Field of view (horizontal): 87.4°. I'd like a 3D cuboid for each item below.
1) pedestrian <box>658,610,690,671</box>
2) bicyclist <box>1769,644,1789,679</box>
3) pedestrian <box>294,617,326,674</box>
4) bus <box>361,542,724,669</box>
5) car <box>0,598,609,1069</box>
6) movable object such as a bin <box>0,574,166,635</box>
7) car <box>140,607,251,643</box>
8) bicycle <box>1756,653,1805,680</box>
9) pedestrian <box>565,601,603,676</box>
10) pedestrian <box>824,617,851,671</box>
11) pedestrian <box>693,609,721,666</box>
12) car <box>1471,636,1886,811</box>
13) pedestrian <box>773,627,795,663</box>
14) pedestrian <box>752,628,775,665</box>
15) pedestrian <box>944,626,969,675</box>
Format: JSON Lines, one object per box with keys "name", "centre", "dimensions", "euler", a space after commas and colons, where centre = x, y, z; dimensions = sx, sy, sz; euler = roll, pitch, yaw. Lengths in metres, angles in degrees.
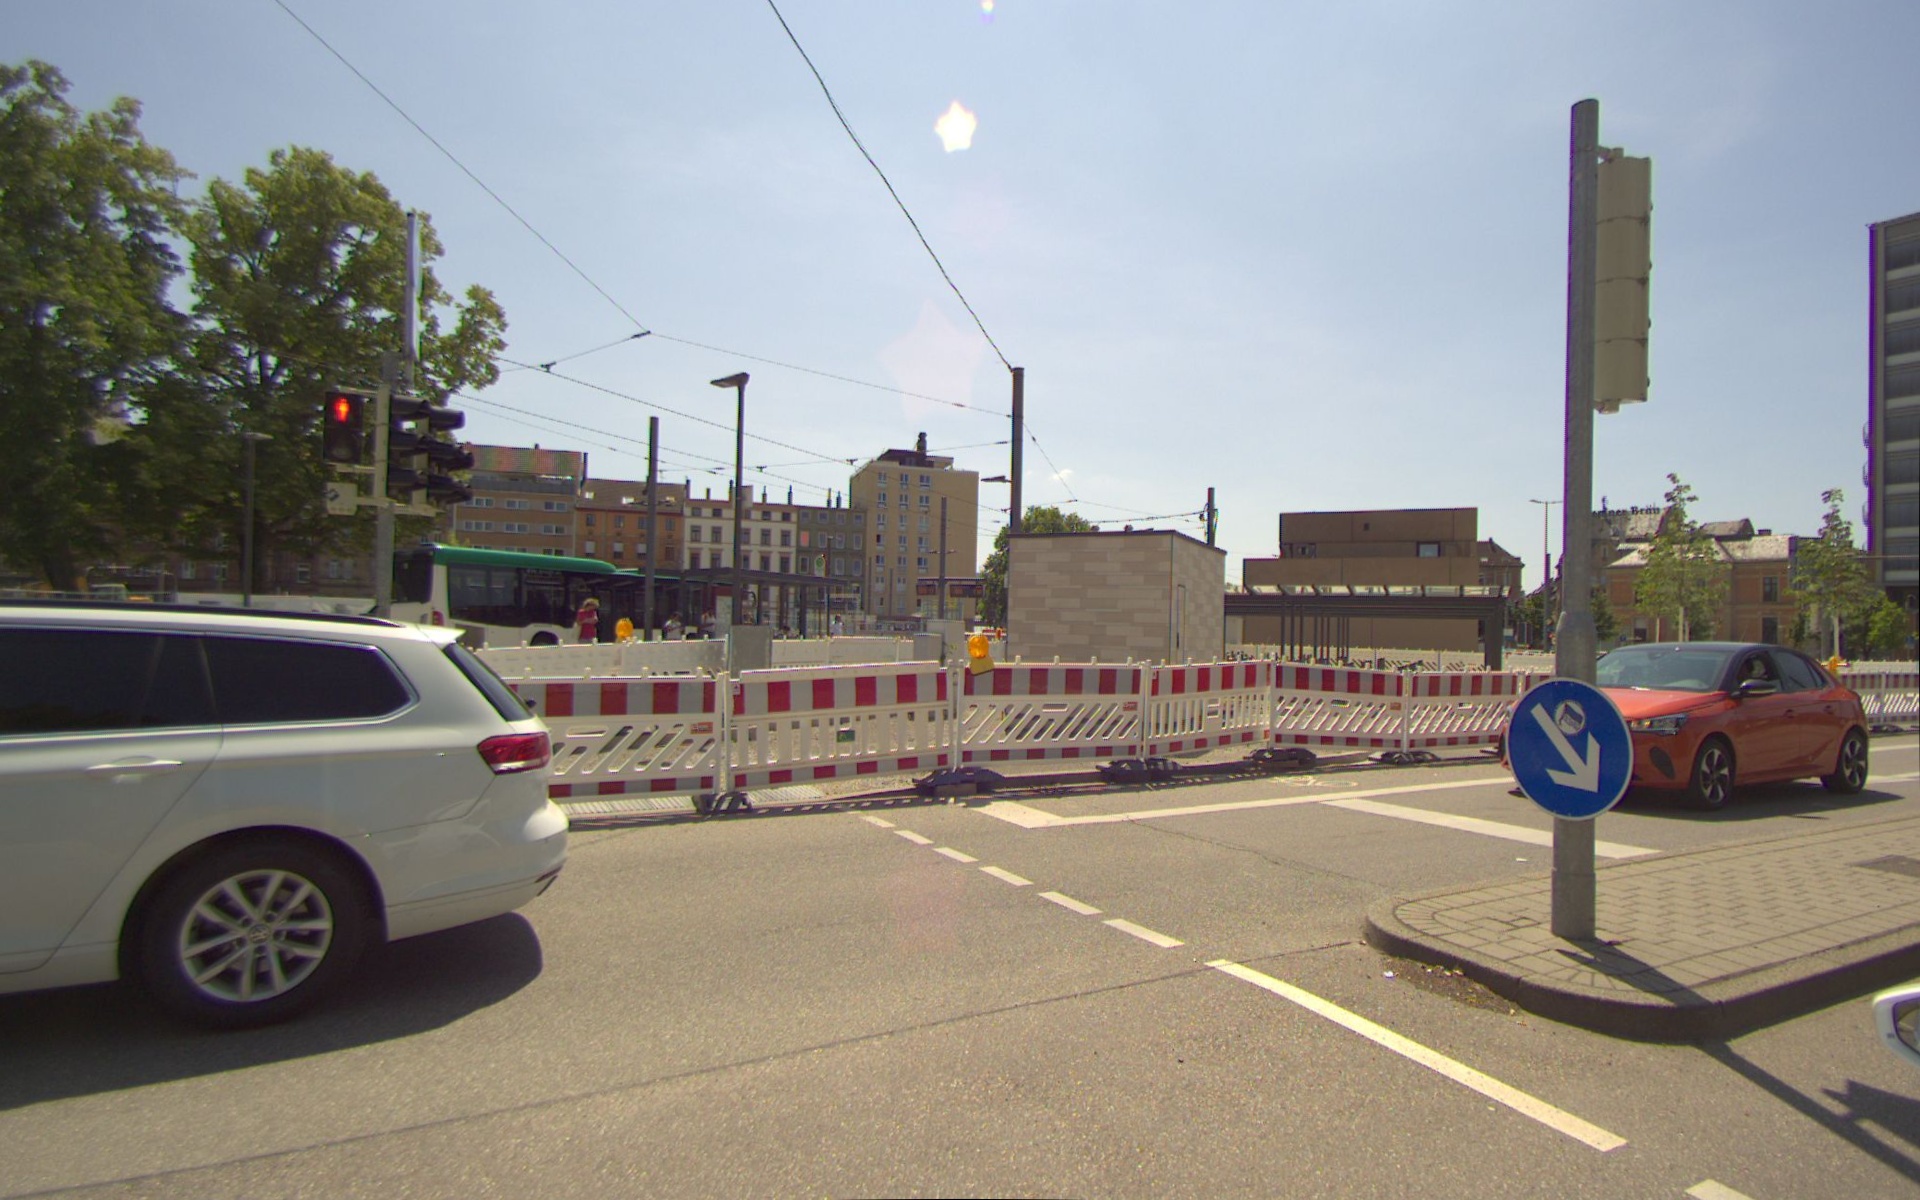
{"name": "pedestrian", "centre": [-8.114, 1.136, 28.471], "dimensions": [0.615, 1.677, 0.546], "euler": [2, 0, 23]}
{"name": "bicyclist", "centre": [38.194, 2.878, 46.847], "dimensions": [0.522, 1.600, 0.497], "euler": [2, -2, -11]}
{"name": "pedestrian", "centre": [-18.269, 1.262, 28.236], "dimensions": [0.540, 1.562, 0.481], "euler": [2, 0, 8]}
{"name": "bus", "centre": [-11.797, 0.206, 30.109], "dimensions": [2.803, 3.094, 10.588], "euler": [2, 0, 28]}
{"name": "car", "centre": [-3.743, 0.745, 3.694], "dimensions": [4.375, 1.447, 1.807], "euler": [2, -3, -30]}
{"name": "movable object such as a bin", "centre": [-54.476, 0.323, 62.455], "dimensions": [7.907, 3.434, 2.876], "euler": [2, 0, -39]}
{"name": "car", "centre": [-38.075, 1.265, 50.074], "dimensions": [4.214, 1.623, 1.760], "euler": [2, 0, -43]}
{"name": "bicycle", "centre": [38.196, 3.086, 46.784], "dimensions": [0.515, 1.196, 1.895], "euler": [2, -3, -10]}
{"name": "pedestrian", "centre": [-8.945, 0.907, 23.914], "dimensions": [0.569, 1.724, 0.566], "euler": [2, 0, 8]}
{"name": "pedestrian", "centre": [-4.425, 1.571, 36.195], "dimensions": [0.685, 1.882, 0.606], "euler": [2, 0, 23]}
{"name": "pedestrian", "centre": [-7.477, 1.100, 29.681], "dimensions": [0.527, 1.642, 0.520], "euler": [2, 0, 23]}
{"name": "car", "centre": [7.000, 1.102, 9.742], "dimensions": [3.963, 1.396, 1.682], "euler": [2, -4, -28]}
{"name": "pedestrian", "centre": [-5.773, 1.484, 32.964], "dimensions": [0.505, 1.137, 0.429], "euler": [2, 0, 23]}
{"name": "pedestrian", "centre": [-6.265, 1.467, 32.013], "dimensions": [0.505, 1.137, 0.429], "euler": [2, 0, 23]}
{"name": "pedestrian", "centre": [-0.151, 2.186, 43.654], "dimensions": [0.684, 2.040, 0.877], "euler": [2, 0, 31]}
